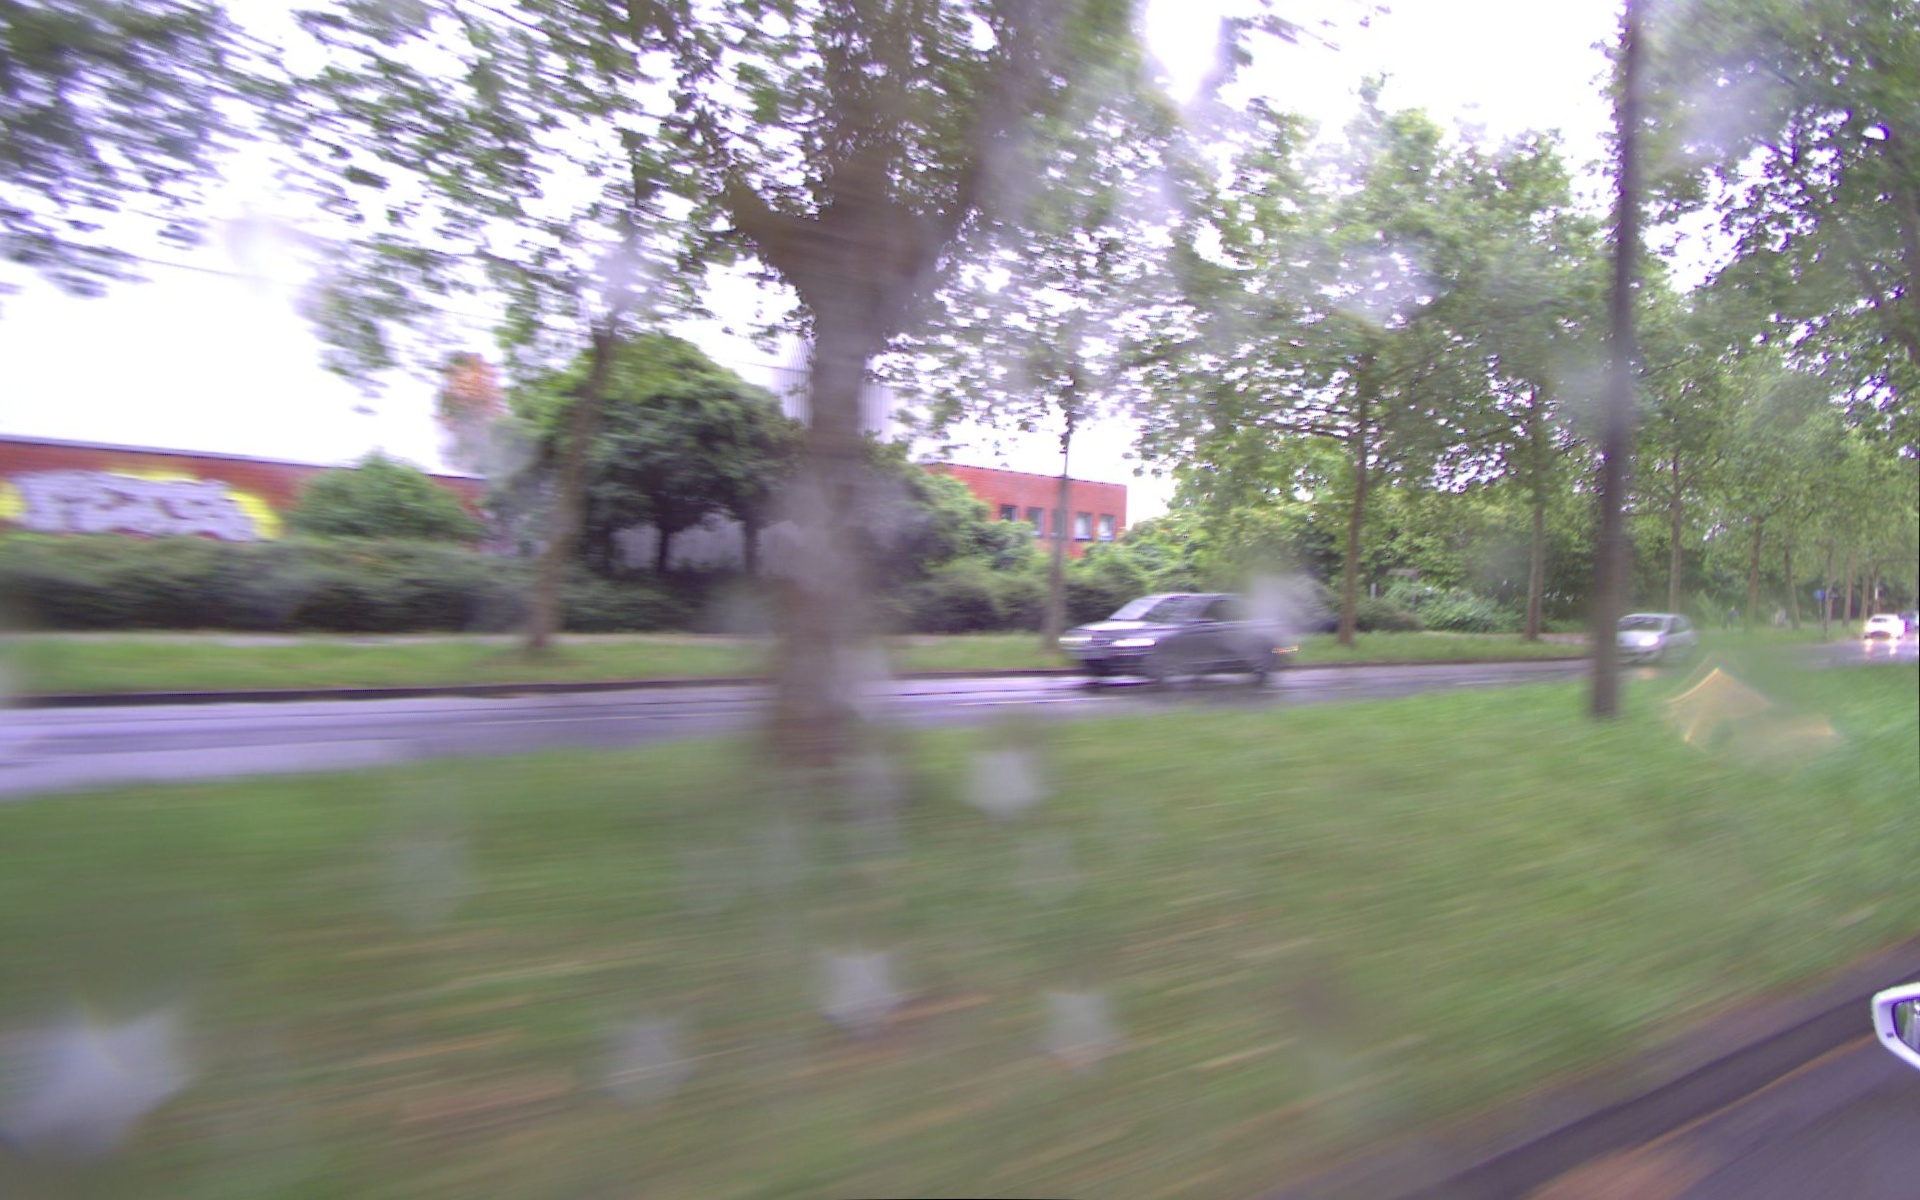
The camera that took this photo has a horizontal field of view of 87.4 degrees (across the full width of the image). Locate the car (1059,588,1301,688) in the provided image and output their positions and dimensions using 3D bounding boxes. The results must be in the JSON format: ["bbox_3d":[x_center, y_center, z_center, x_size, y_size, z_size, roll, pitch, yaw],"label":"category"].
[{"bbox_3d":[4.023,0.639,18.134,4.322,1.582,1.733,1,1,-34],"label":"car"}]

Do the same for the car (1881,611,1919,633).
[{"bbox_3d":[71.924,1.665,76.787,4.176,1.612,1.728,1,1,-41],"label":"car"}]

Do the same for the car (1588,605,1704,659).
[{"bbox_3d":[20.669,0.947,30.238,3.806,1.479,1.731,1,1,-37],"label":"car"}]

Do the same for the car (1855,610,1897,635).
[{"bbox_3d":[59.093,1.439,64.767,4.054,1.496,1.726,1,1,-44],"label":"car"}]

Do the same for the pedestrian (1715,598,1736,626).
[{"bbox_3d":[47.792,0.729,62.719,0.893,1.696,0.823,1,1,-42],"label":"pedestrian"}]
